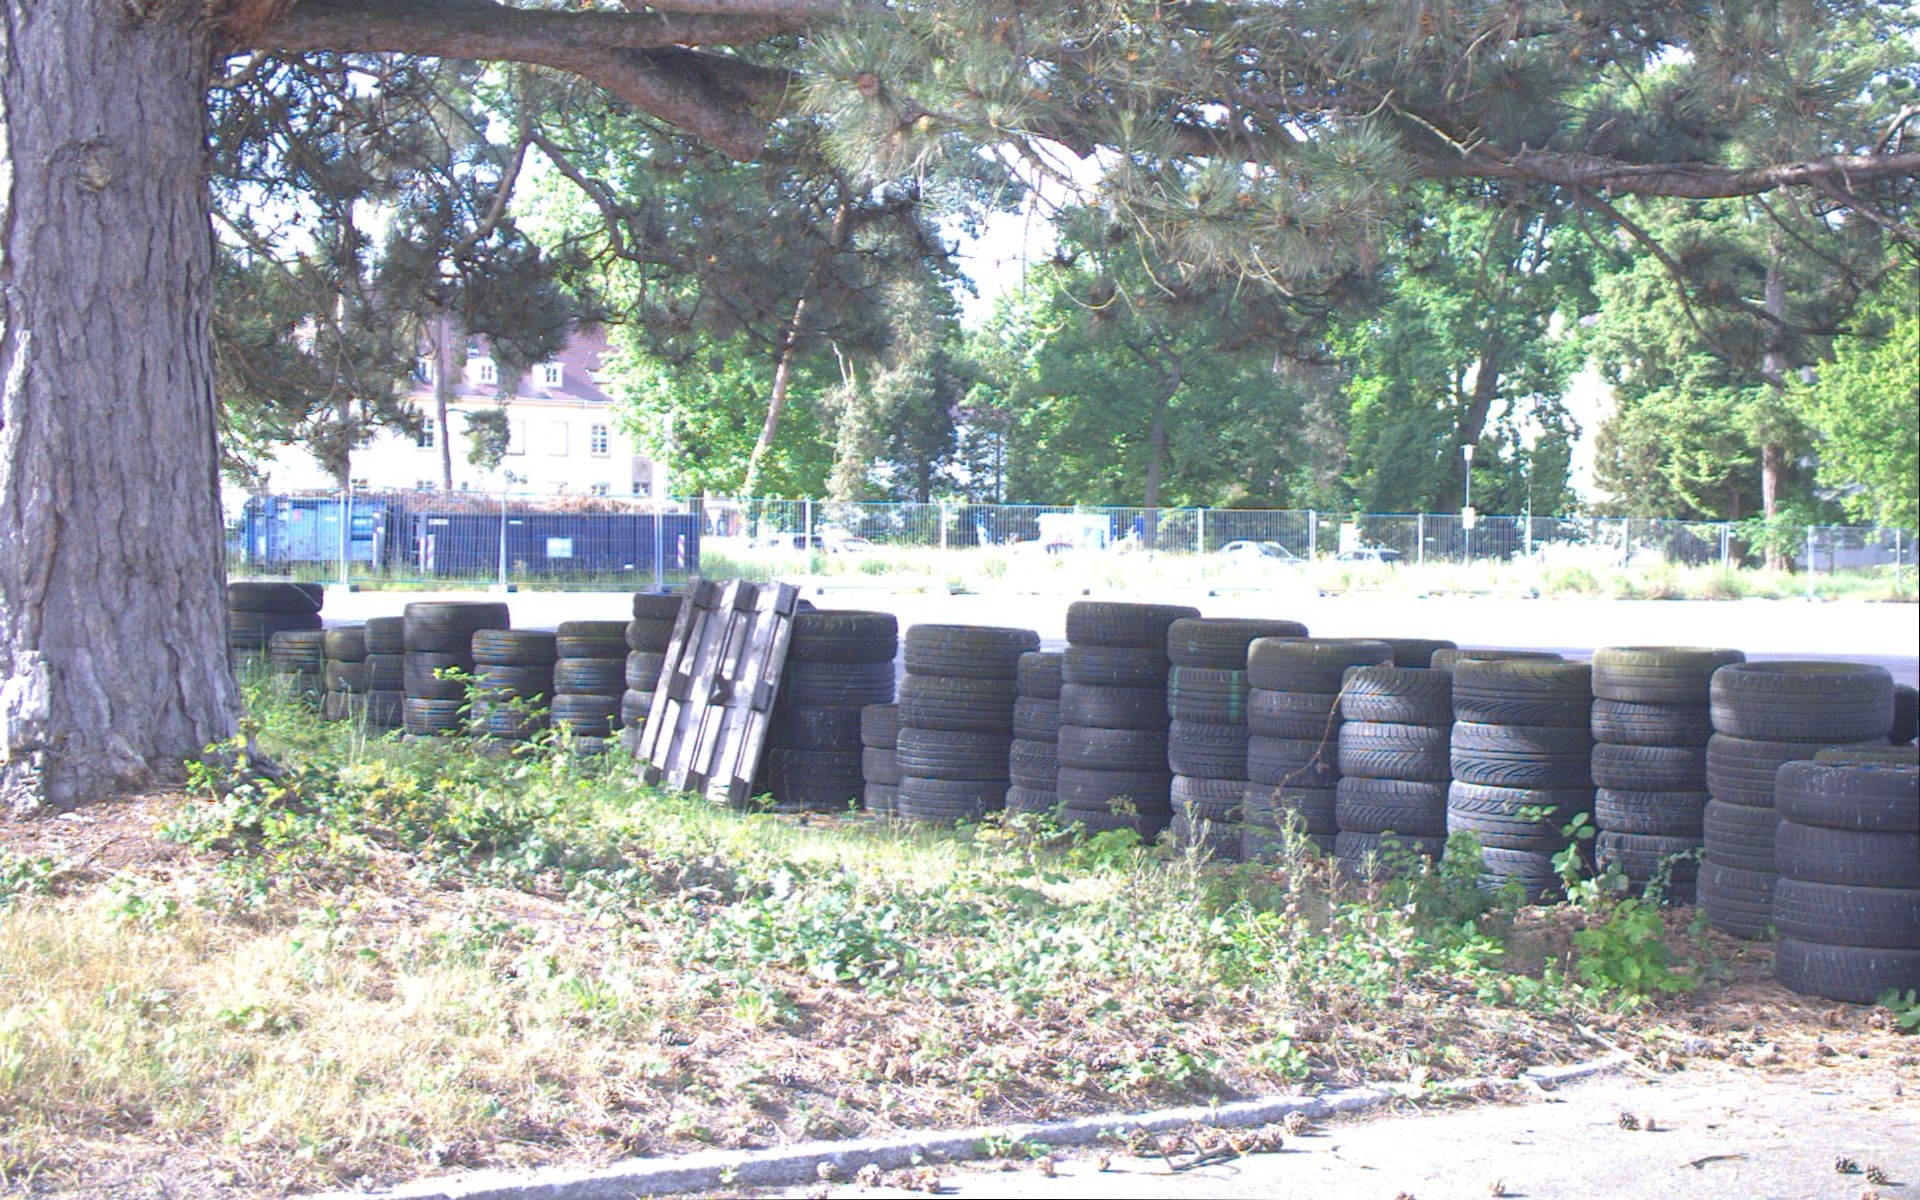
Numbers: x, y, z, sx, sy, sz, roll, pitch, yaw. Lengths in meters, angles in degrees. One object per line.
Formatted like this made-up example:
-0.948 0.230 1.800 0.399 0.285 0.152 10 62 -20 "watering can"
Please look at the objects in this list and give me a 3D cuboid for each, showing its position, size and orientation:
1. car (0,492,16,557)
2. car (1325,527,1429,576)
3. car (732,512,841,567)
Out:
-25.487 -1.947 86.813 1.994 1.612 4.000 0 2 -34 "car"
15.452 -1.806 127.521 1.993 1.744 4.001 1 1 -25 "car"
-5.744 -2.001 113.426 1.993 1.744 4.001 0 1 -29 "car"
